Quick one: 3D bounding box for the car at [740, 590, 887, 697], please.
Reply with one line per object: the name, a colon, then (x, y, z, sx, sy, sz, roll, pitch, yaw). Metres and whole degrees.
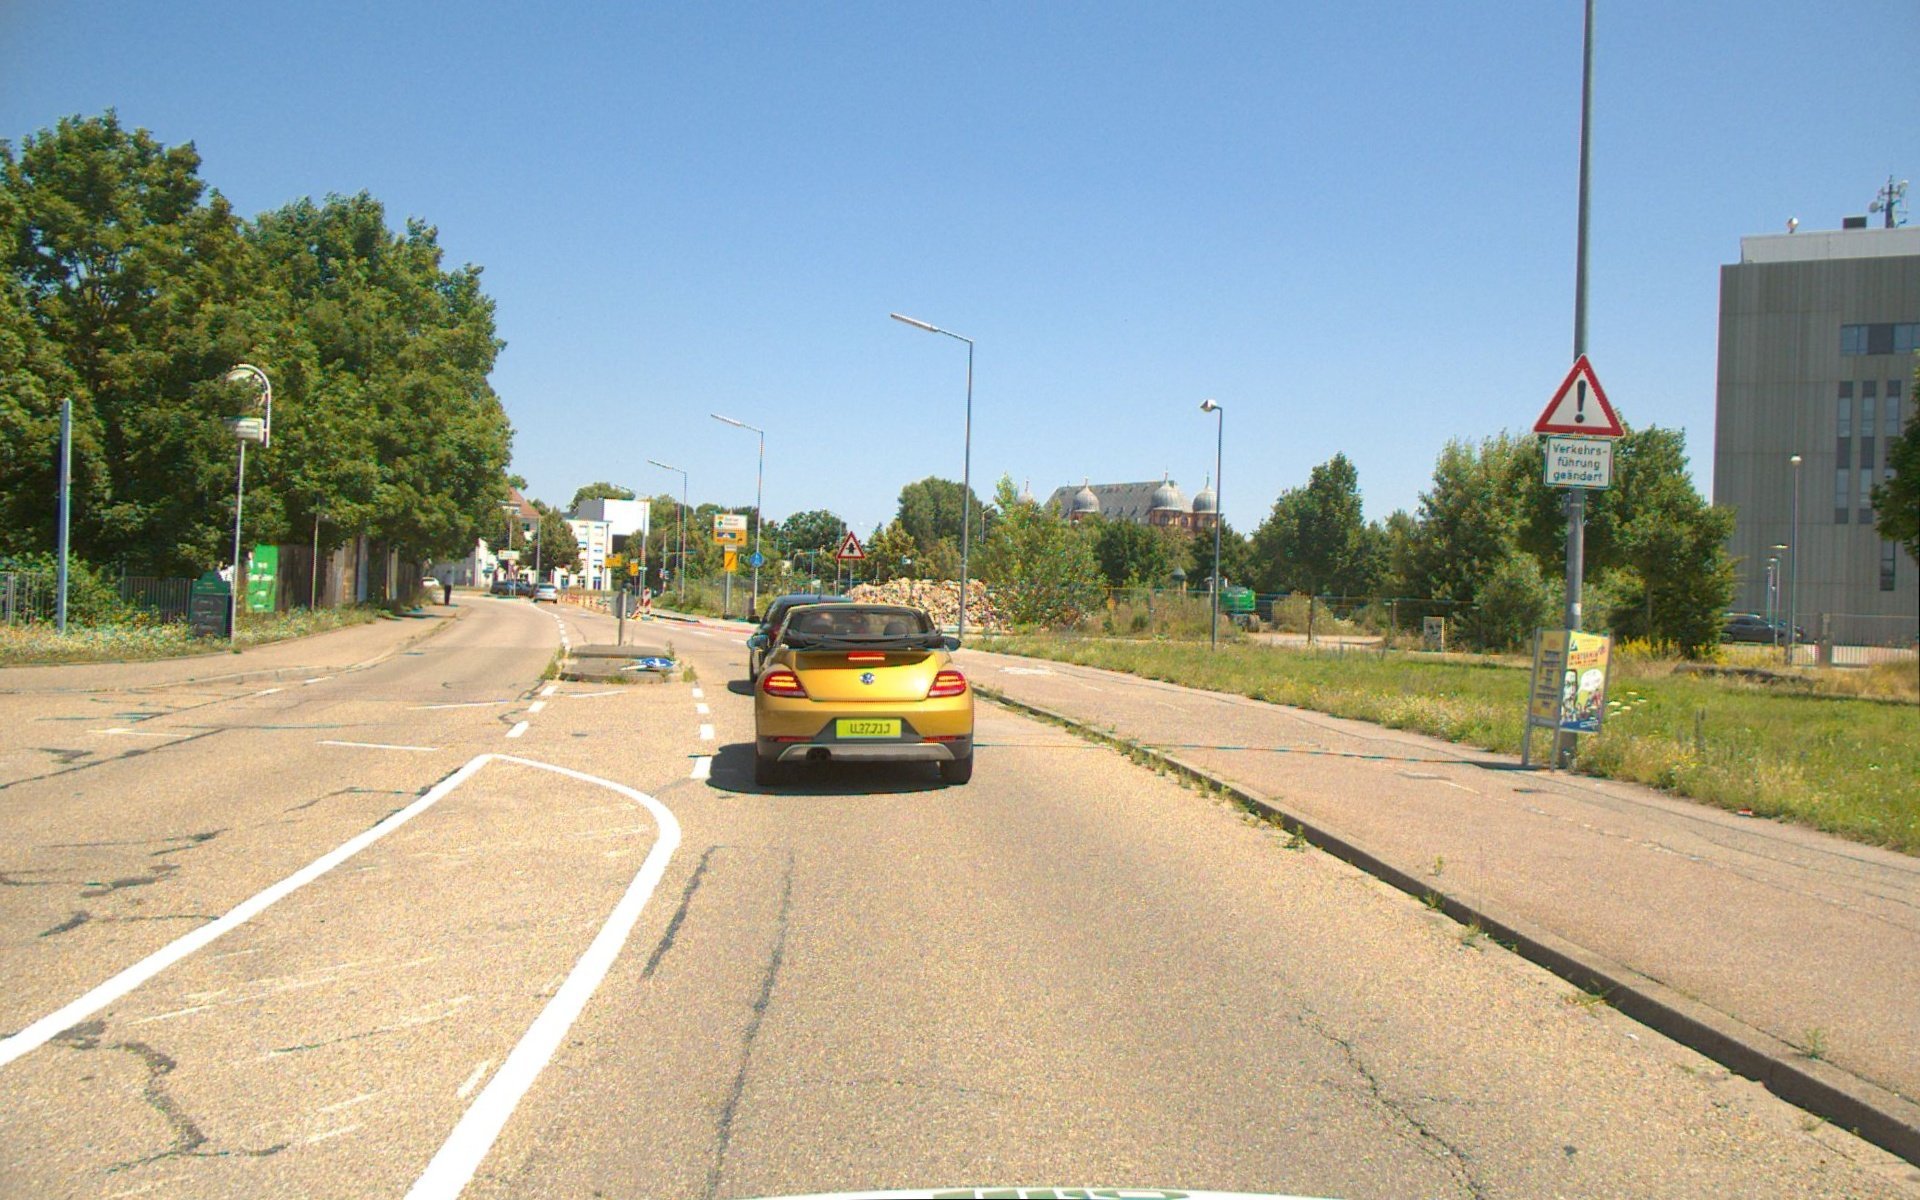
car: (-2.301, 0.603, 25.133, 1.697, 1.468, 3.987, 2, 0, -13)

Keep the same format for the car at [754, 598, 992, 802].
car: (-0.858, 0.754, 14.338, 1.756, 1.461, 3.808, 2, 0, -7)

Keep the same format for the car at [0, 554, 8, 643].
car: (-22.527, -0.077, 33.919, 4.732, 1.872, 1.997, 1, 0, -8)

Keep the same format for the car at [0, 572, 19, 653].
car: (-20.186, 0.201, 31.220, 3.796, 1.552, 1.804, 1, 0, -13)

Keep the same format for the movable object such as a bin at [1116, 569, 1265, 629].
movable object such as a bin: (13.650, -0.087, 99.316, 4.862, 3.317, 10.418, 2, 0, -17)

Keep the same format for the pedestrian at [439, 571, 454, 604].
pedestrian: (-27.430, -0.661, 88.379, 0.712, 1.755, 0.813, 2, 0, -20)

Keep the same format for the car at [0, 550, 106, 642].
car: (-22.082, -0.122, 37.716, 4.230, 2.011, 1.777, 2, 0, -13)
